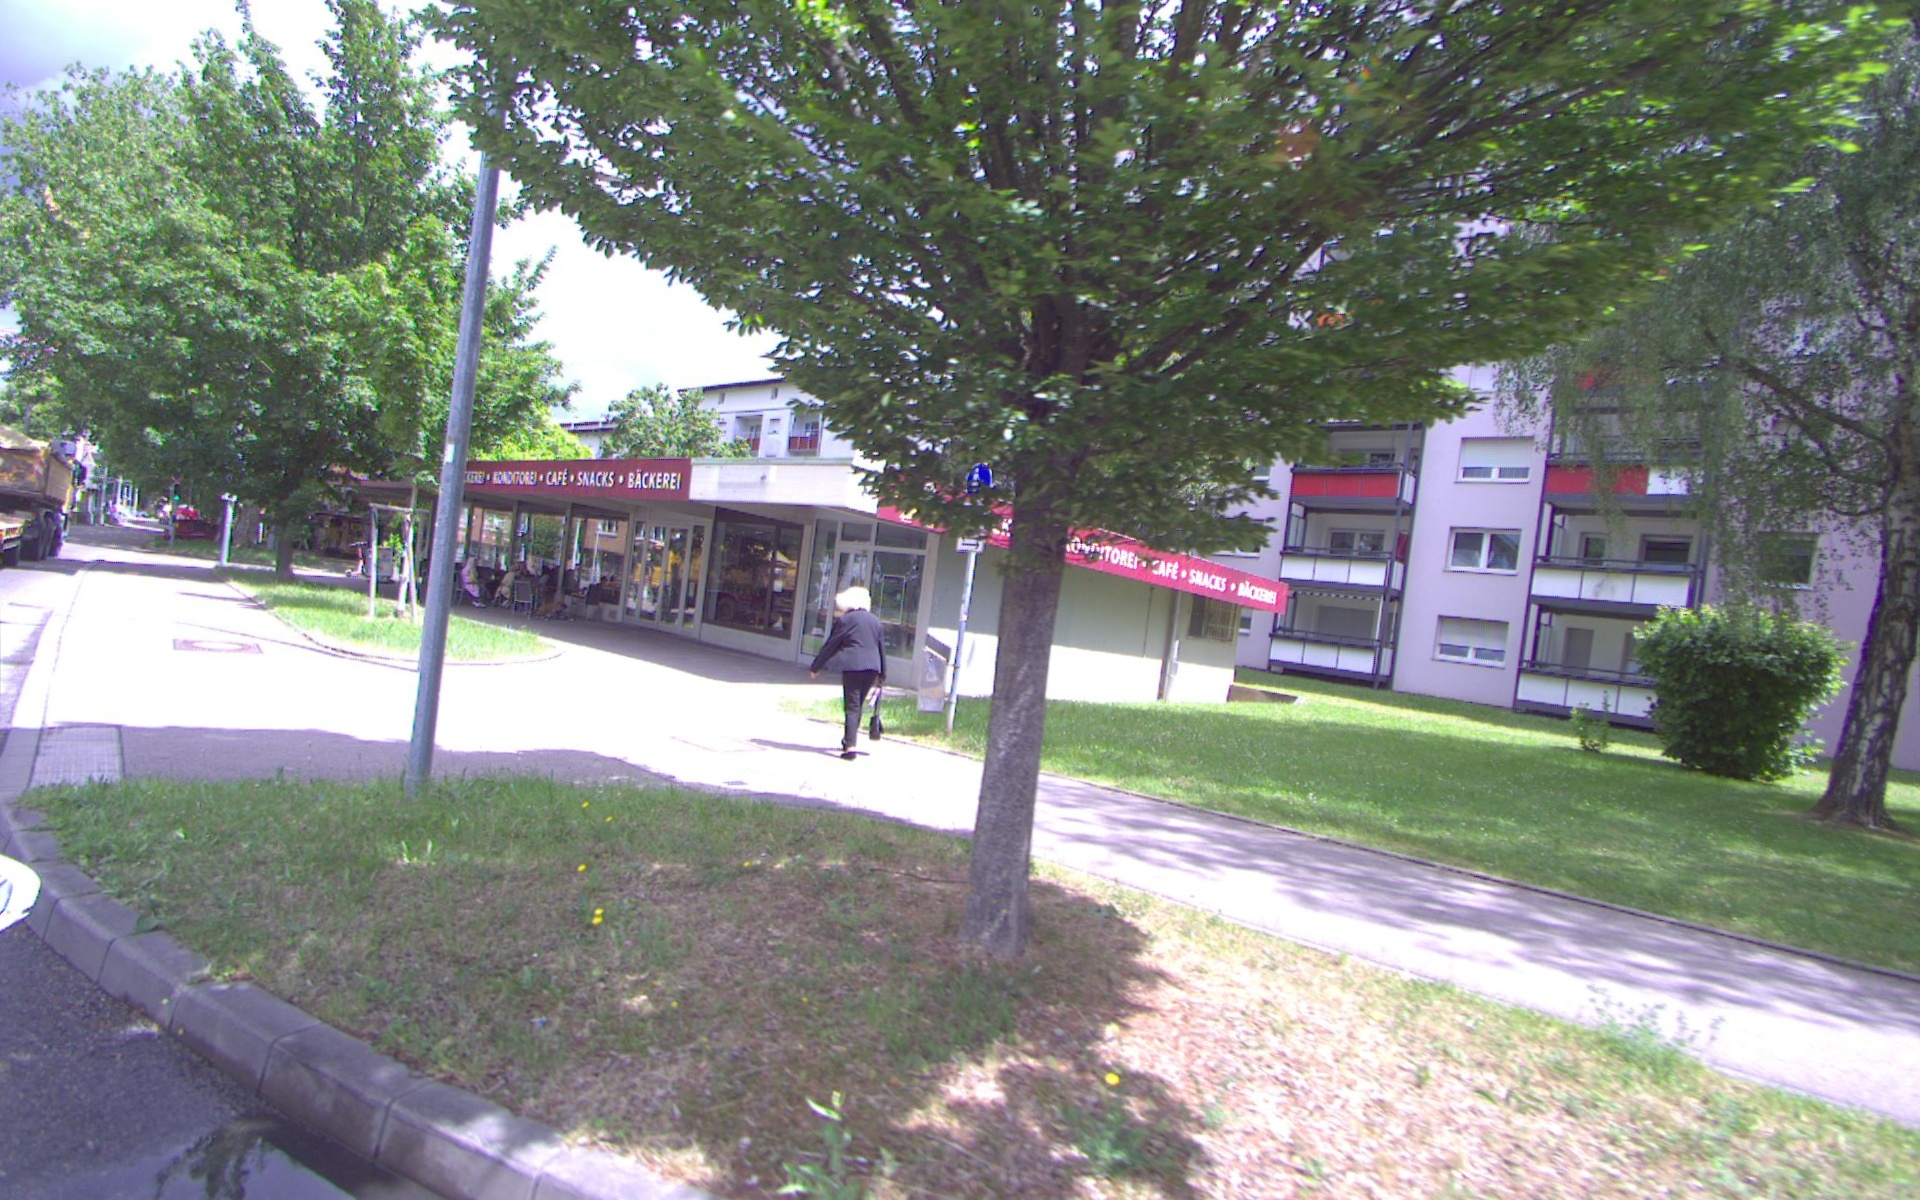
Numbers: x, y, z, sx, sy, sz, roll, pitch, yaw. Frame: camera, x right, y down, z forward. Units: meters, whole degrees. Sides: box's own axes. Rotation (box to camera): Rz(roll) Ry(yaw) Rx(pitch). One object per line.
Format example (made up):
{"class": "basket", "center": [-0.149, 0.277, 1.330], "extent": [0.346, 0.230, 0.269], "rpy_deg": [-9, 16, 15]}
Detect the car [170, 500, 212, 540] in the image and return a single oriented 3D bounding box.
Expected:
{"class": "car", "center": [-64.385, -6.669, 84.286], "extent": [1.984, 2.858, 5.067], "rpy_deg": [12, -2, -34]}

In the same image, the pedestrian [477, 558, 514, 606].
{"class": "pedestrian", "center": [-12.762, -0.506, 27.628], "extent": [0.713, 1.216, 0.692], "rpy_deg": [7, 0, -33]}

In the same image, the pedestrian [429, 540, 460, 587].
{"class": "pedestrian", "center": [-17.797, -1.248, 34.704], "extent": [0.694, 1.507, 0.550], "rpy_deg": [6, 1, -43]}

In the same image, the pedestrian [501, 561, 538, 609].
{"class": "pedestrian", "center": [-12.214, -0.424, 27.887], "extent": [0.713, 1.216, 0.692], "rpy_deg": [7, 0, -33]}

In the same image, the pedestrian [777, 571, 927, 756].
{"class": "pedestrian", "center": [-1.009, 0.591, 9.389], "extent": [0.869, 1.537, 0.794], "rpy_deg": [9, 1, -40]}

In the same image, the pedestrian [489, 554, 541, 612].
{"class": "pedestrian", "center": [-11.691, -0.442, 26.425], "extent": [0.811, 1.342, 0.876], "rpy_deg": [11, 3, 43]}

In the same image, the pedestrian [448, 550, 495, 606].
{"class": "pedestrian", "center": [-12.870, -0.573, 26.503], "extent": [0.873, 1.341, 0.604], "rpy_deg": [7, 1, -39]}

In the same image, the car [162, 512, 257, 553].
{"class": "car", "center": [-41.293, -3.718, 55.463], "extent": [3.966, 1.530, 1.980], "rpy_deg": [9, 1, -35]}

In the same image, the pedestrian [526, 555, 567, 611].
{"class": "pedestrian", "center": [-11.141, -0.466, 27.086], "extent": [0.715, 1.398, 0.691], "rpy_deg": [6, 0, -40]}

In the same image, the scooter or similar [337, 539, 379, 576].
{"class": "scooter or similar", "center": [-21.670, -1.500, 36.235], "extent": [0.510, 1.242, 1.728], "rpy_deg": [7, 1, -7]}

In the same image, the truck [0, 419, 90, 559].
{"class": "truck", "center": [-24.878, -2.898, 25.881], "extent": [2.973, 3.072, 8.399], "rpy_deg": [7, -1, -37]}

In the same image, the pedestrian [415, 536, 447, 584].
{"class": "pedestrian", "center": [-18.370, -1.388, 34.931], "extent": [0.694, 1.593, 0.550], "rpy_deg": [6, 1, -43]}

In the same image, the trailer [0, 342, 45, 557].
{"class": "trailer", "center": [-18.945, -2.713, 18.156], "extent": [2.850, 3.415, 10.721], "rpy_deg": [6, 0, -40]}
